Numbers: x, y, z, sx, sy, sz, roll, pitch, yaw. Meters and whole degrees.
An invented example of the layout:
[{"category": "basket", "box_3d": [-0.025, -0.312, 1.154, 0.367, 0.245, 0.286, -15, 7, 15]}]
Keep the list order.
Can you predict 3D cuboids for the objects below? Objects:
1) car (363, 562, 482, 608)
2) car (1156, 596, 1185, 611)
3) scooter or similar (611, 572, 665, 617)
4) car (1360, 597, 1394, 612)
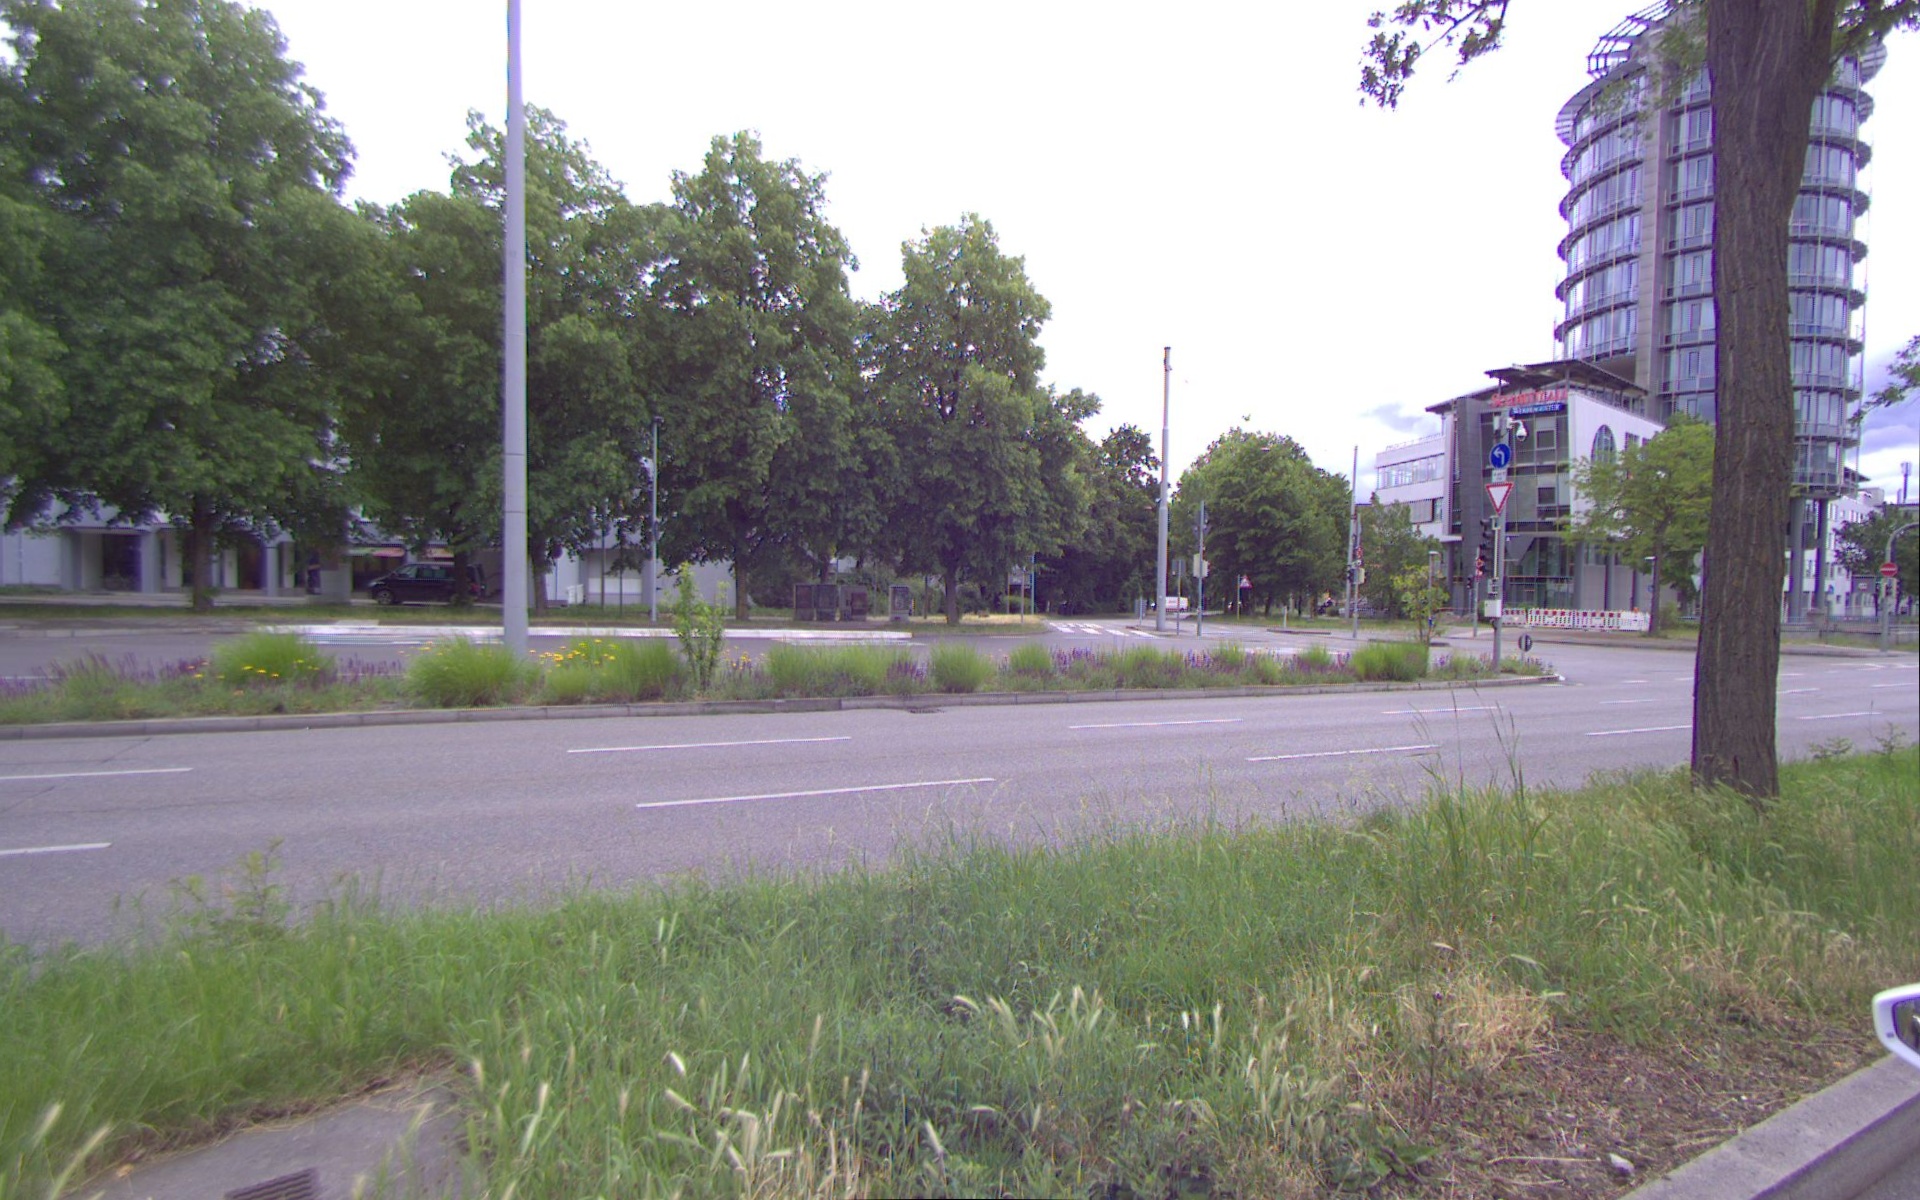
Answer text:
[{"category": "car", "box_3d": [-23.799, -0.643, 44.643, 4.345, 1.872, 1.781, 1, 0, -16]}, {"category": "car", "box_3d": [36.744, 0.619, 175.255, 4.475, 2.370, 1.994, 2, 0, -16]}, {"category": "scooter or similar", "box_3d": [-12.351, -0.187, 38.548, 1.835, 1.686, 0.645, 1, 1, -43]}, {"category": "car", "box_3d": [24.555, 0.261, 59.100, 1.684, 0.888, 0.776, 1, 0, 7]}]
